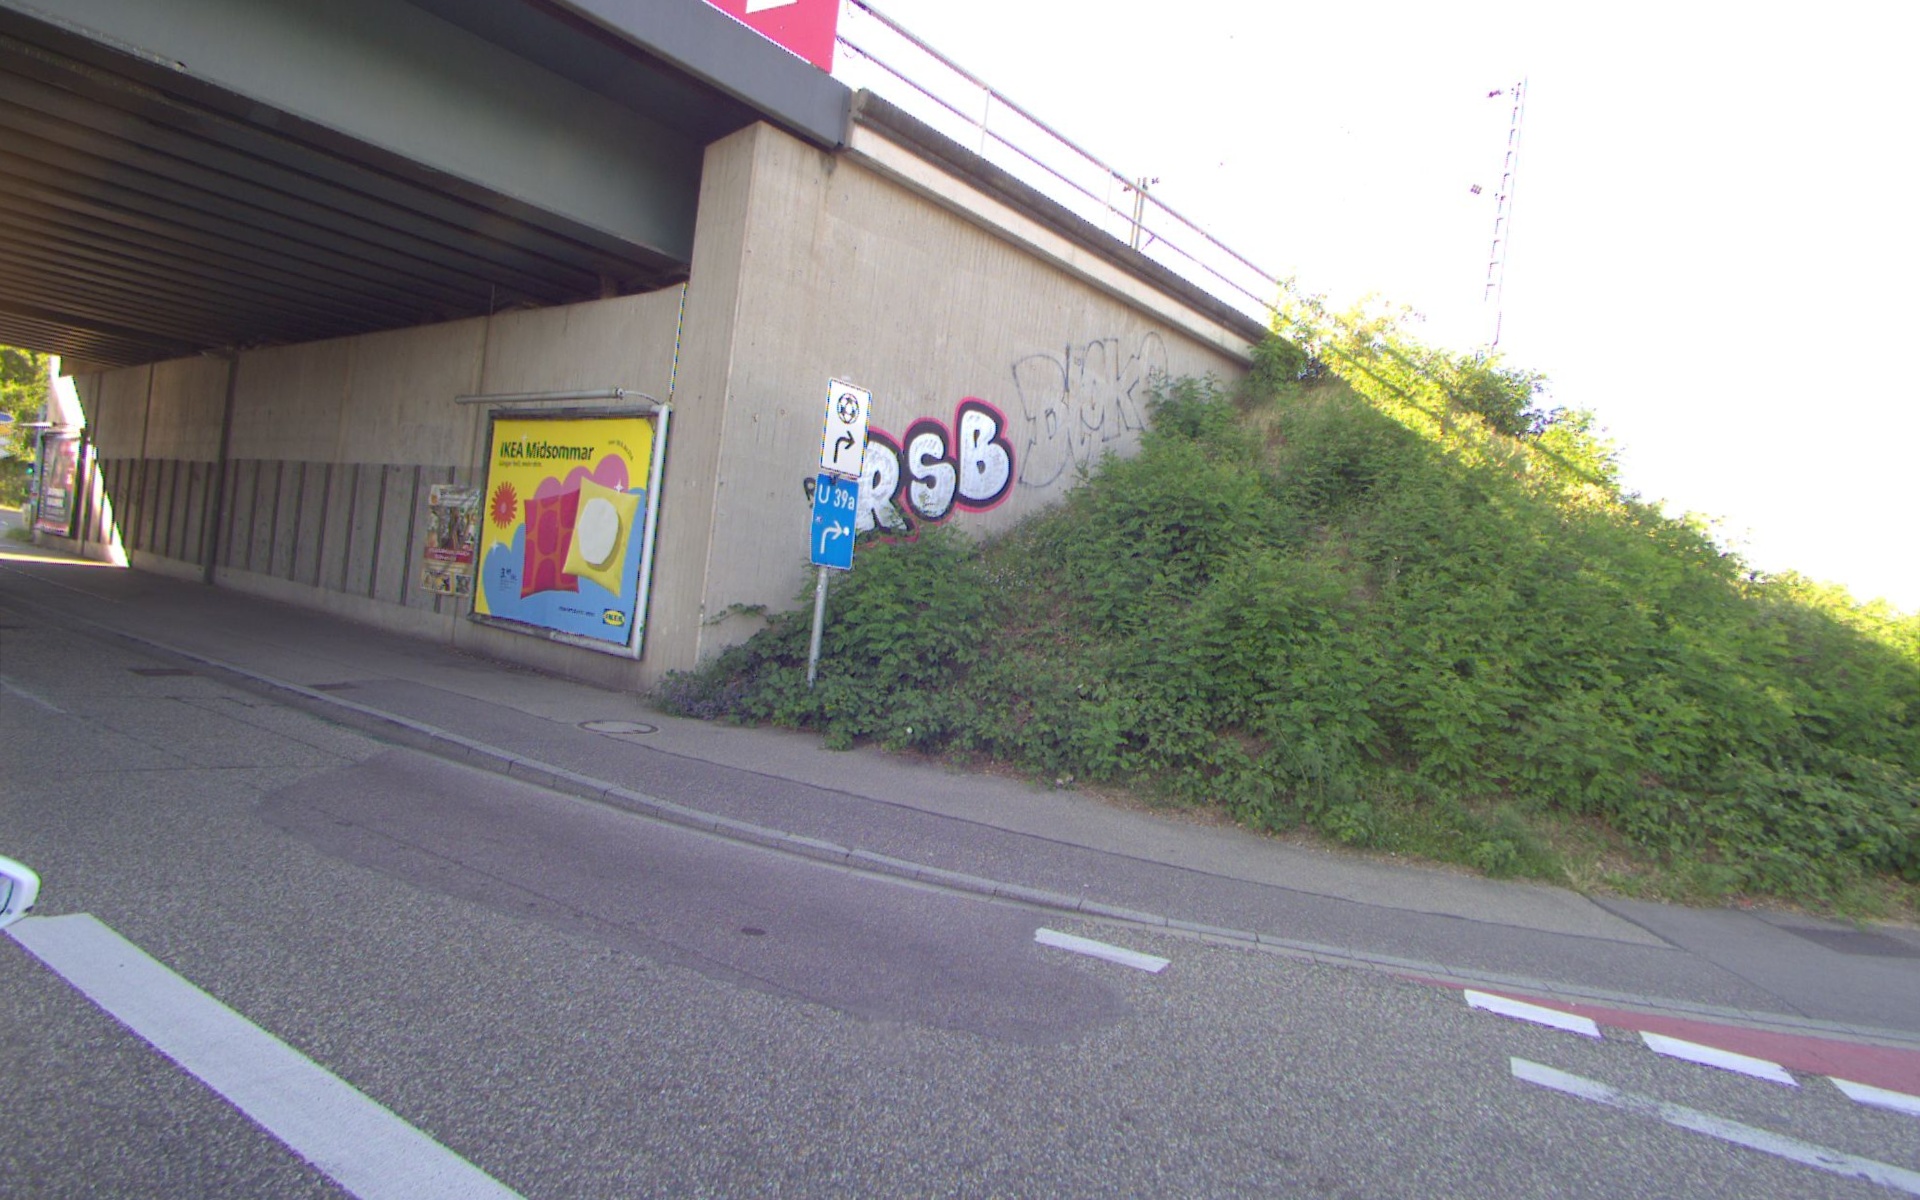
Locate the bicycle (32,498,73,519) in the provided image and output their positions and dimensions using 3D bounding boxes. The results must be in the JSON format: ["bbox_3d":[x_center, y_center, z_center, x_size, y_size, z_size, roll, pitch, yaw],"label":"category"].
[{"bbox_3d":[-53.787,-5.433,59.637,1.652,1.004,0.572,7,3,-35],"label":"bicycle"}]
